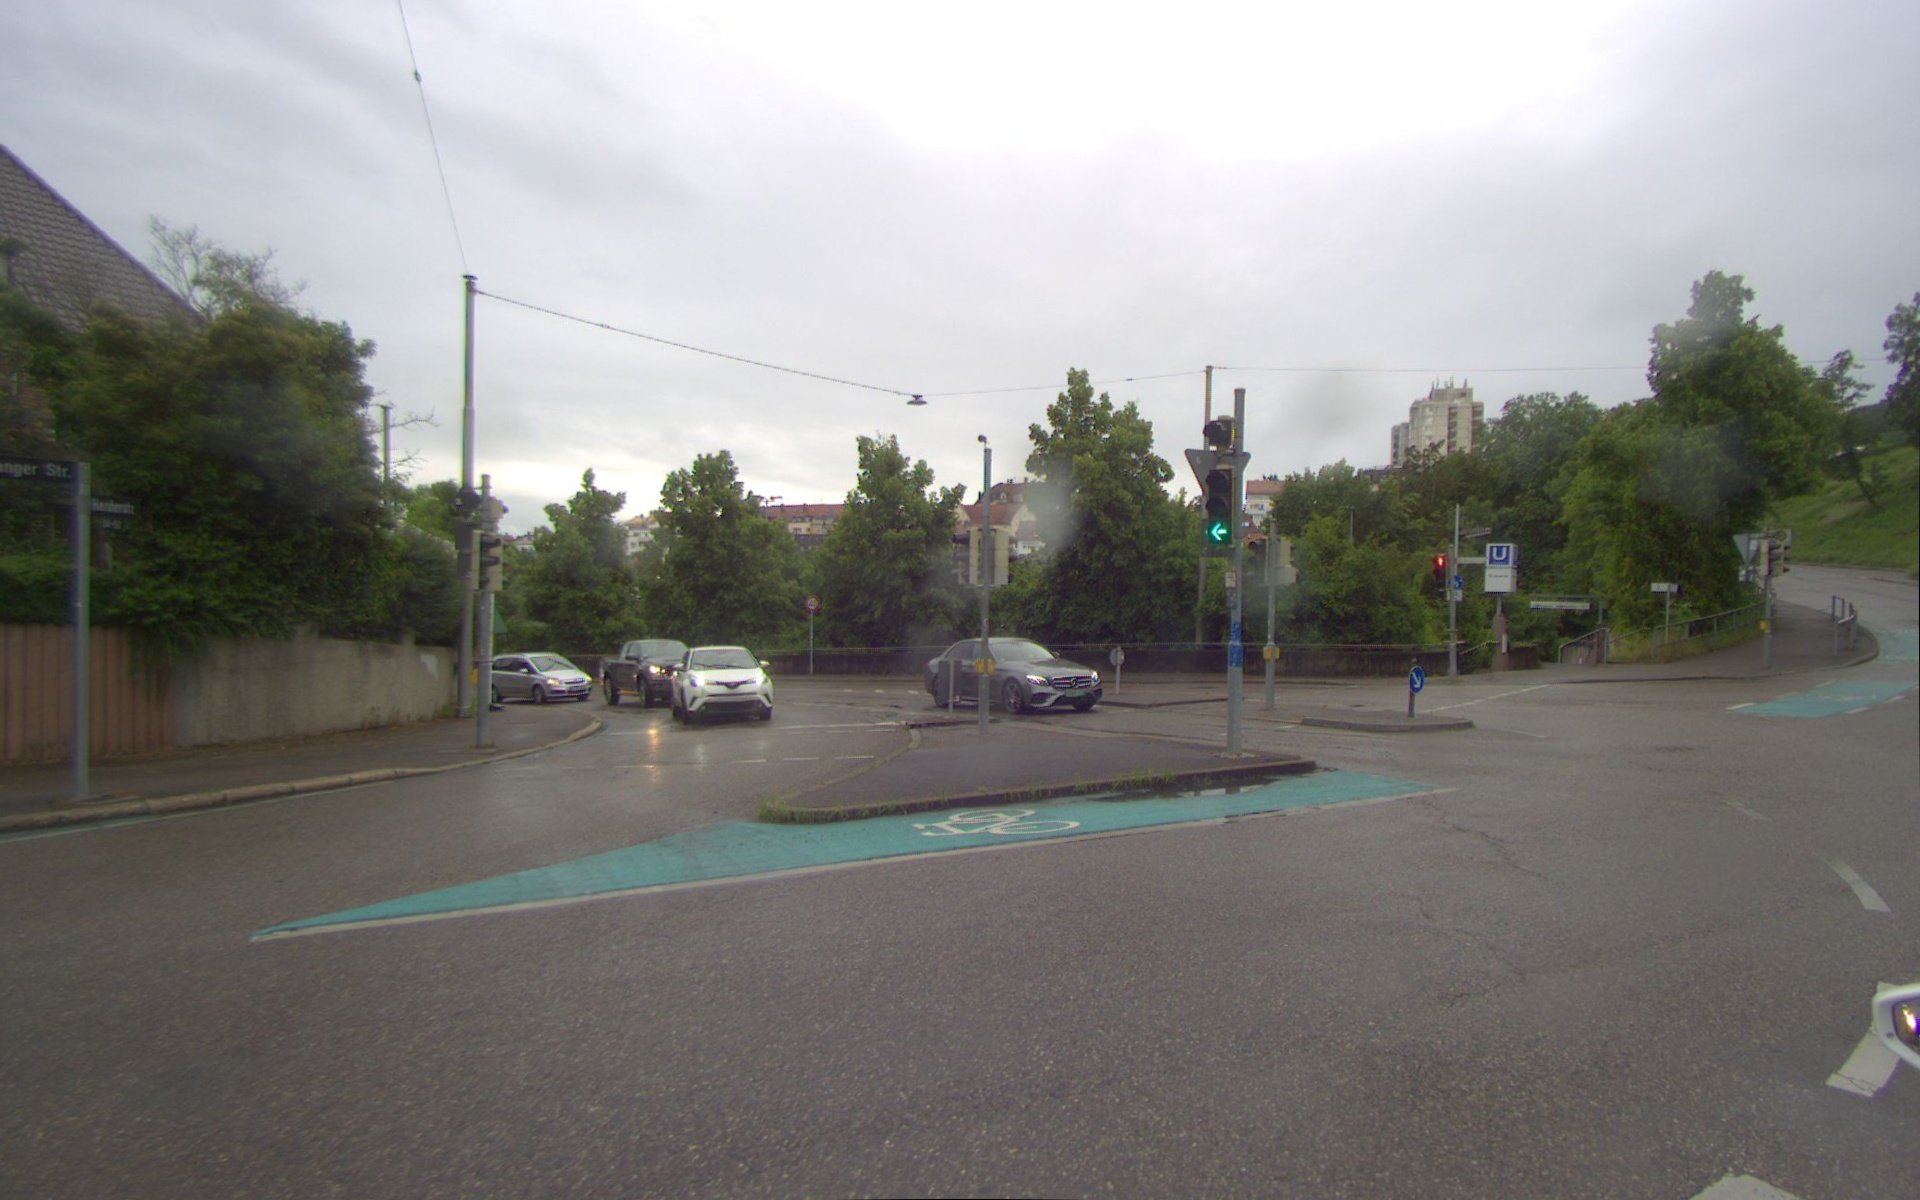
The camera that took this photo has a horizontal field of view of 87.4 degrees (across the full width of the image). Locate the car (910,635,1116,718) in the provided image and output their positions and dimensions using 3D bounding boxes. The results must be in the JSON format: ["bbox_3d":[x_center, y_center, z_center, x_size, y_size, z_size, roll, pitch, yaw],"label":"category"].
[{"bbox_3d":[0.958,1.498,20.785,1.846,1.414,4.553,-2,-1,-34],"label":"car"}]

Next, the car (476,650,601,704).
[{"bbox_3d":[-13.937,2.554,33.143,4.387,1.606,1.711,-4,-3,35],"label":"car"}]

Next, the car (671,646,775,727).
[{"bbox_3d":[-5.121,1.747,21.308,1.686,1.486,4.242,0,-2,-20],"label":"car"}]

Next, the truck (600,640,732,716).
[{"bbox_3d":[-8.290,2.073,27.962,1.871,1.873,5.227,0,-2,-36],"label":"truck"}]
